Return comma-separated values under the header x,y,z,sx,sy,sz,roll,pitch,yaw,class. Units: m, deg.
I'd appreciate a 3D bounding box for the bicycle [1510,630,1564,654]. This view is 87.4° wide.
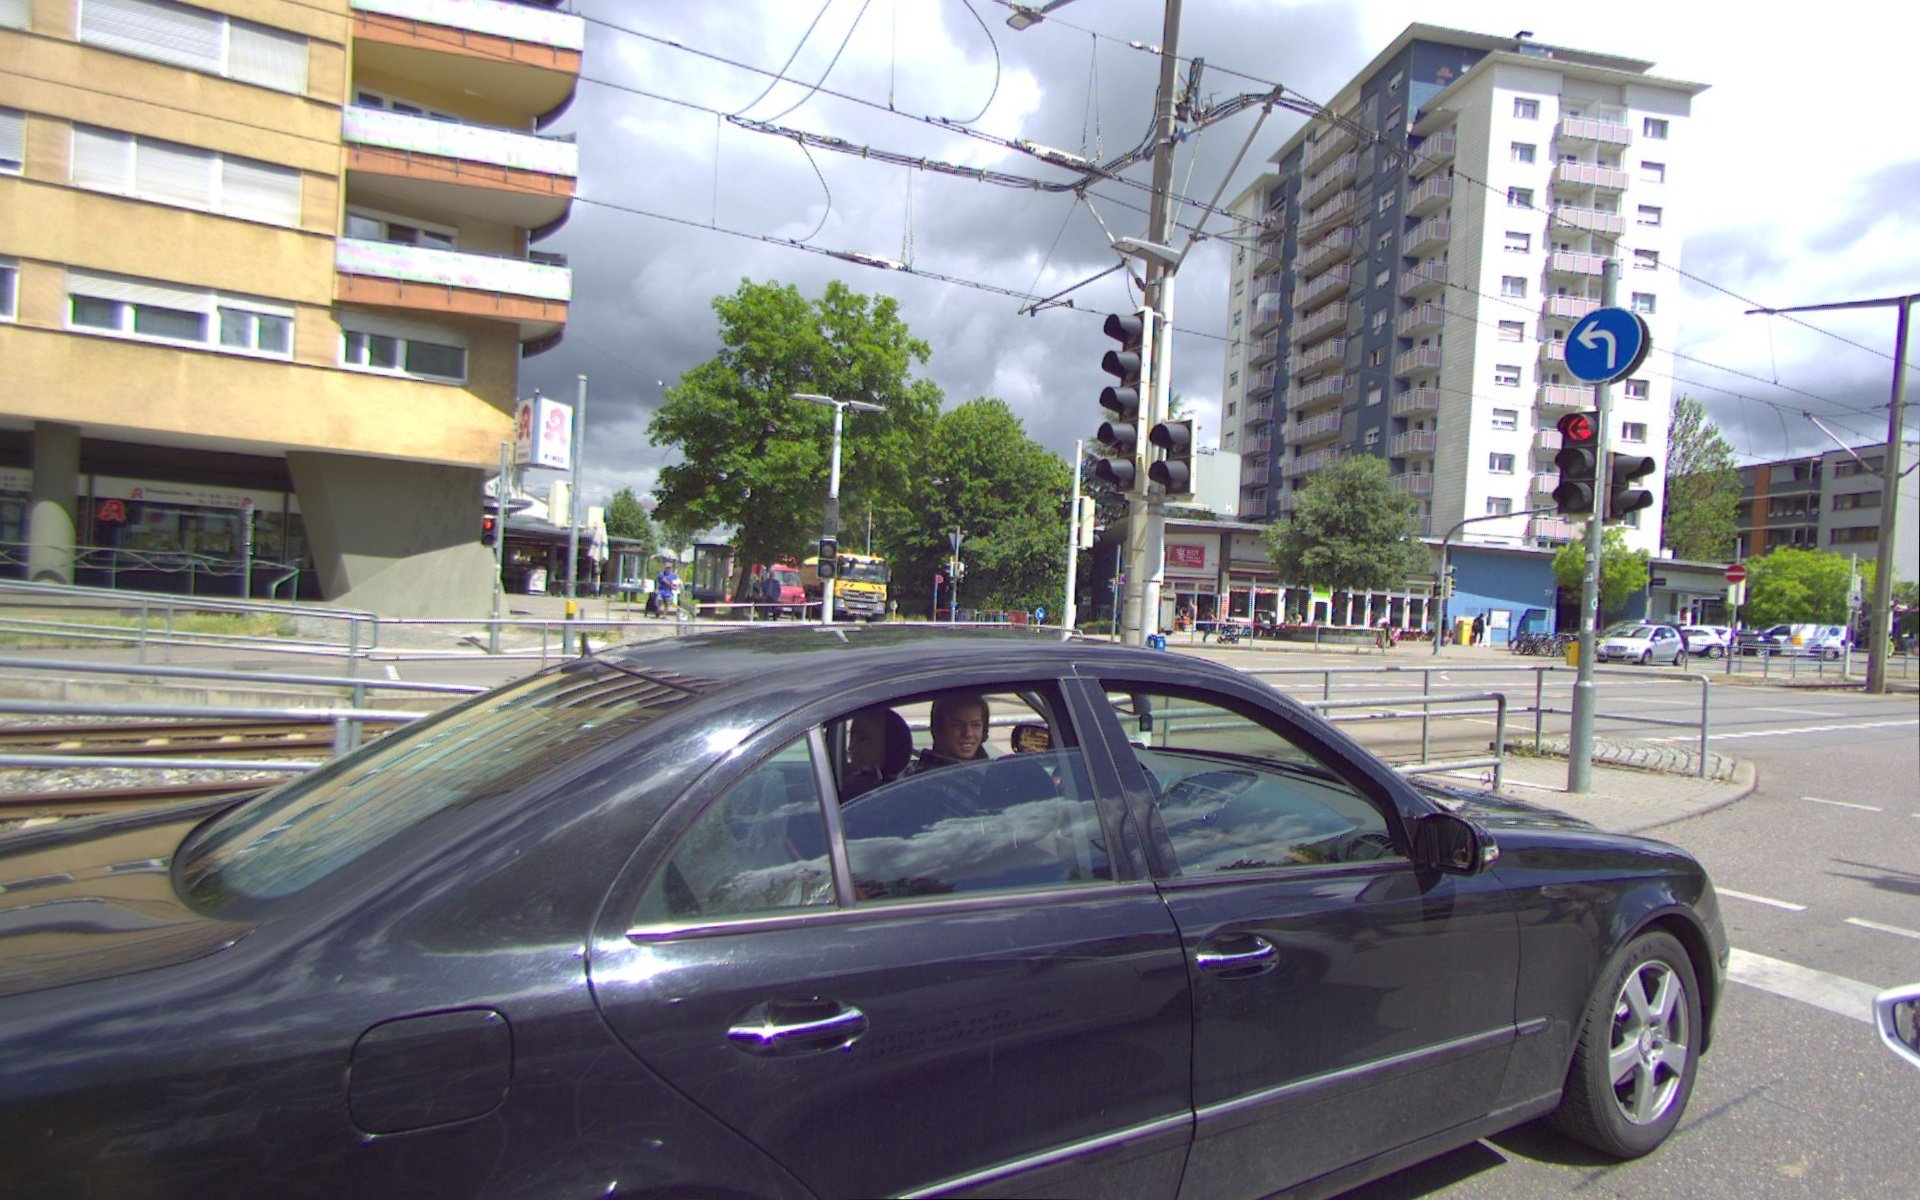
x,y,z,sx,sy,sz,roll,pitch,yaw,class
24.473,1.766,42.610,0.490,0.947,1.933,2,0,-35,bicycle

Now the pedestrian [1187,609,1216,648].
x,y,z,sx,sy,sz,roll,pitch,yaw,class
10.777,1.275,44.920,0.977,1.681,0.969,2,-1,-4,pedestrian

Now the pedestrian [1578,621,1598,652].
x,y,z,sx,sy,sz,roll,pitch,yaw,class
34.055,1.968,54.466,0.759,1.637,0.694,2,0,45,pedestrian

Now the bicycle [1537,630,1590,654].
x,y,z,sx,sy,sz,roll,pitch,yaw,class
26.251,1.831,43.688,0.490,0.947,1.933,2,0,-35,bicycle

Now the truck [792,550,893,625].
x,y,z,sx,sy,sz,roll,pitch,yaw,class
-5.759,-0.574,48.012,2.733,3.244,7.442,2,0,-23,truck

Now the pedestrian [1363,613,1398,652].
x,y,z,sx,sy,sz,roll,pitch,yaw,class
18.992,1.466,45.396,1.081,1.681,0.945,2,-1,-14,pedestrian

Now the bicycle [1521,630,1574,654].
x,y,z,sx,sy,sz,roll,pitch,yaw,class
25.252,1.795,43.197,0.490,0.947,1.933,2,0,-35,bicycle

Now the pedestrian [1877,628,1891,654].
x,y,z,sx,sy,sz,roll,pitch,yaw,class
61.577,2.735,66.948,0.663,1.739,0.542,1,0,-40,pedestrian

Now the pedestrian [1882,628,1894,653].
x,y,z,sx,sy,sz,roll,pitch,yaw,class
64.961,2.837,70.304,0.401,1.739,0.542,1,0,-39,pedestrian

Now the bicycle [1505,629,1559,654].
x,y,z,sx,sy,sz,roll,pitch,yaw,class
24.078,1.752,42.317,0.490,0.947,1.933,2,0,-35,bicycle

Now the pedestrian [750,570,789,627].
x,y,z,sx,sy,sz,roll,pitch,yaw,class
-5.820,-0.053,30.708,0.750,1.636,0.780,7,1,11,pedestrian

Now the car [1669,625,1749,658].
x,y,z,sx,sy,sz,roll,pitch,yaw,class
40.618,2.213,54.615,1.921,1.558,4.220,2,0,13,car

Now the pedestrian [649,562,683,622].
x,y,z,sx,sy,sz,roll,pitch,yaw,class
-8.324,-0.248,28.419,0.756,1.638,0.774,0,5,-30,pedestrian

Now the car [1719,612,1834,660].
x,y,z,sx,sy,sz,roll,pitch,yaw,class
47.591,2.024,58.785,2.776,2.511,6.724,2,0,17,car

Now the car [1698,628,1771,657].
x,y,z,sx,sy,sz,roll,pitch,yaw,class
43.305,2.362,56.288,1.754,1.439,4.219,2,0,15,car

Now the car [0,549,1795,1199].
x,y,z,sx,sy,sz,roll,pitch,yaw,class
0.183,0.727,2.692,4.491,1.481,1.720,2,0,-30,car

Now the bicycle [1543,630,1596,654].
x,y,z,sx,sy,sz,roll,pitch,yaw,class
26.656,1.846,43.972,0.490,0.947,1.933,2,0,-35,bicycle

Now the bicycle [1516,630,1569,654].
x,y,z,sx,sy,sz,roll,pitch,yaw,class
24.877,1.781,42.908,0.490,0.947,1.933,2,0,-35,bicycle

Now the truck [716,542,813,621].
x,y,z,sx,sy,sz,roll,pitch,yaw,class
-9.380,-0.813,47.369,2.692,3.320,8.876,2,0,-23,truck

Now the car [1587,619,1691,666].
x,y,z,sx,sy,sz,roll,pitch,yaw,class
26.985,1.691,39.906,3.827,1.715,1.928,2,0,-30,car

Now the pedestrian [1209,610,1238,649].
x,y,z,sx,sy,sz,roll,pitch,yaw,class
11.840,1.311,45.136,0.977,1.681,0.969,2,-1,-4,pedestrian

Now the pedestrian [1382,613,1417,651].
x,y,z,sx,sy,sz,roll,pitch,yaw,class
20.070,1.462,45.848,1.081,1.681,0.945,2,-1,-14,pedestrian

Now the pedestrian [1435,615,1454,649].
x,y,z,sx,sy,sz,roll,pitch,yaw,class
24.316,1.593,50.445,0.756,1.637,0.697,2,0,31,pedestrian

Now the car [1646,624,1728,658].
x,y,z,sx,sy,sz,roll,pitch,yaw,class
37.946,2.119,52.556,1.921,1.591,4.220,2,0,13,car

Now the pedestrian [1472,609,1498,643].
x,y,z,sx,sy,sz,roll,pitch,yaw,class
30.180,1.487,57.726,1.204,1.942,0.858,1,1,-38,pedestrian

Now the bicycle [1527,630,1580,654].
x,y,z,sx,sy,sz,roll,pitch,yaw,class
25.669,1.811,43.500,0.490,0.947,1.933,2,0,-35,bicycle

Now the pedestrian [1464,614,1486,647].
x,y,z,sx,sy,sz,roll,pitch,yaw,class
26.366,1.562,51.431,0.693,1.637,0.760,1,0,-43,pedestrian
